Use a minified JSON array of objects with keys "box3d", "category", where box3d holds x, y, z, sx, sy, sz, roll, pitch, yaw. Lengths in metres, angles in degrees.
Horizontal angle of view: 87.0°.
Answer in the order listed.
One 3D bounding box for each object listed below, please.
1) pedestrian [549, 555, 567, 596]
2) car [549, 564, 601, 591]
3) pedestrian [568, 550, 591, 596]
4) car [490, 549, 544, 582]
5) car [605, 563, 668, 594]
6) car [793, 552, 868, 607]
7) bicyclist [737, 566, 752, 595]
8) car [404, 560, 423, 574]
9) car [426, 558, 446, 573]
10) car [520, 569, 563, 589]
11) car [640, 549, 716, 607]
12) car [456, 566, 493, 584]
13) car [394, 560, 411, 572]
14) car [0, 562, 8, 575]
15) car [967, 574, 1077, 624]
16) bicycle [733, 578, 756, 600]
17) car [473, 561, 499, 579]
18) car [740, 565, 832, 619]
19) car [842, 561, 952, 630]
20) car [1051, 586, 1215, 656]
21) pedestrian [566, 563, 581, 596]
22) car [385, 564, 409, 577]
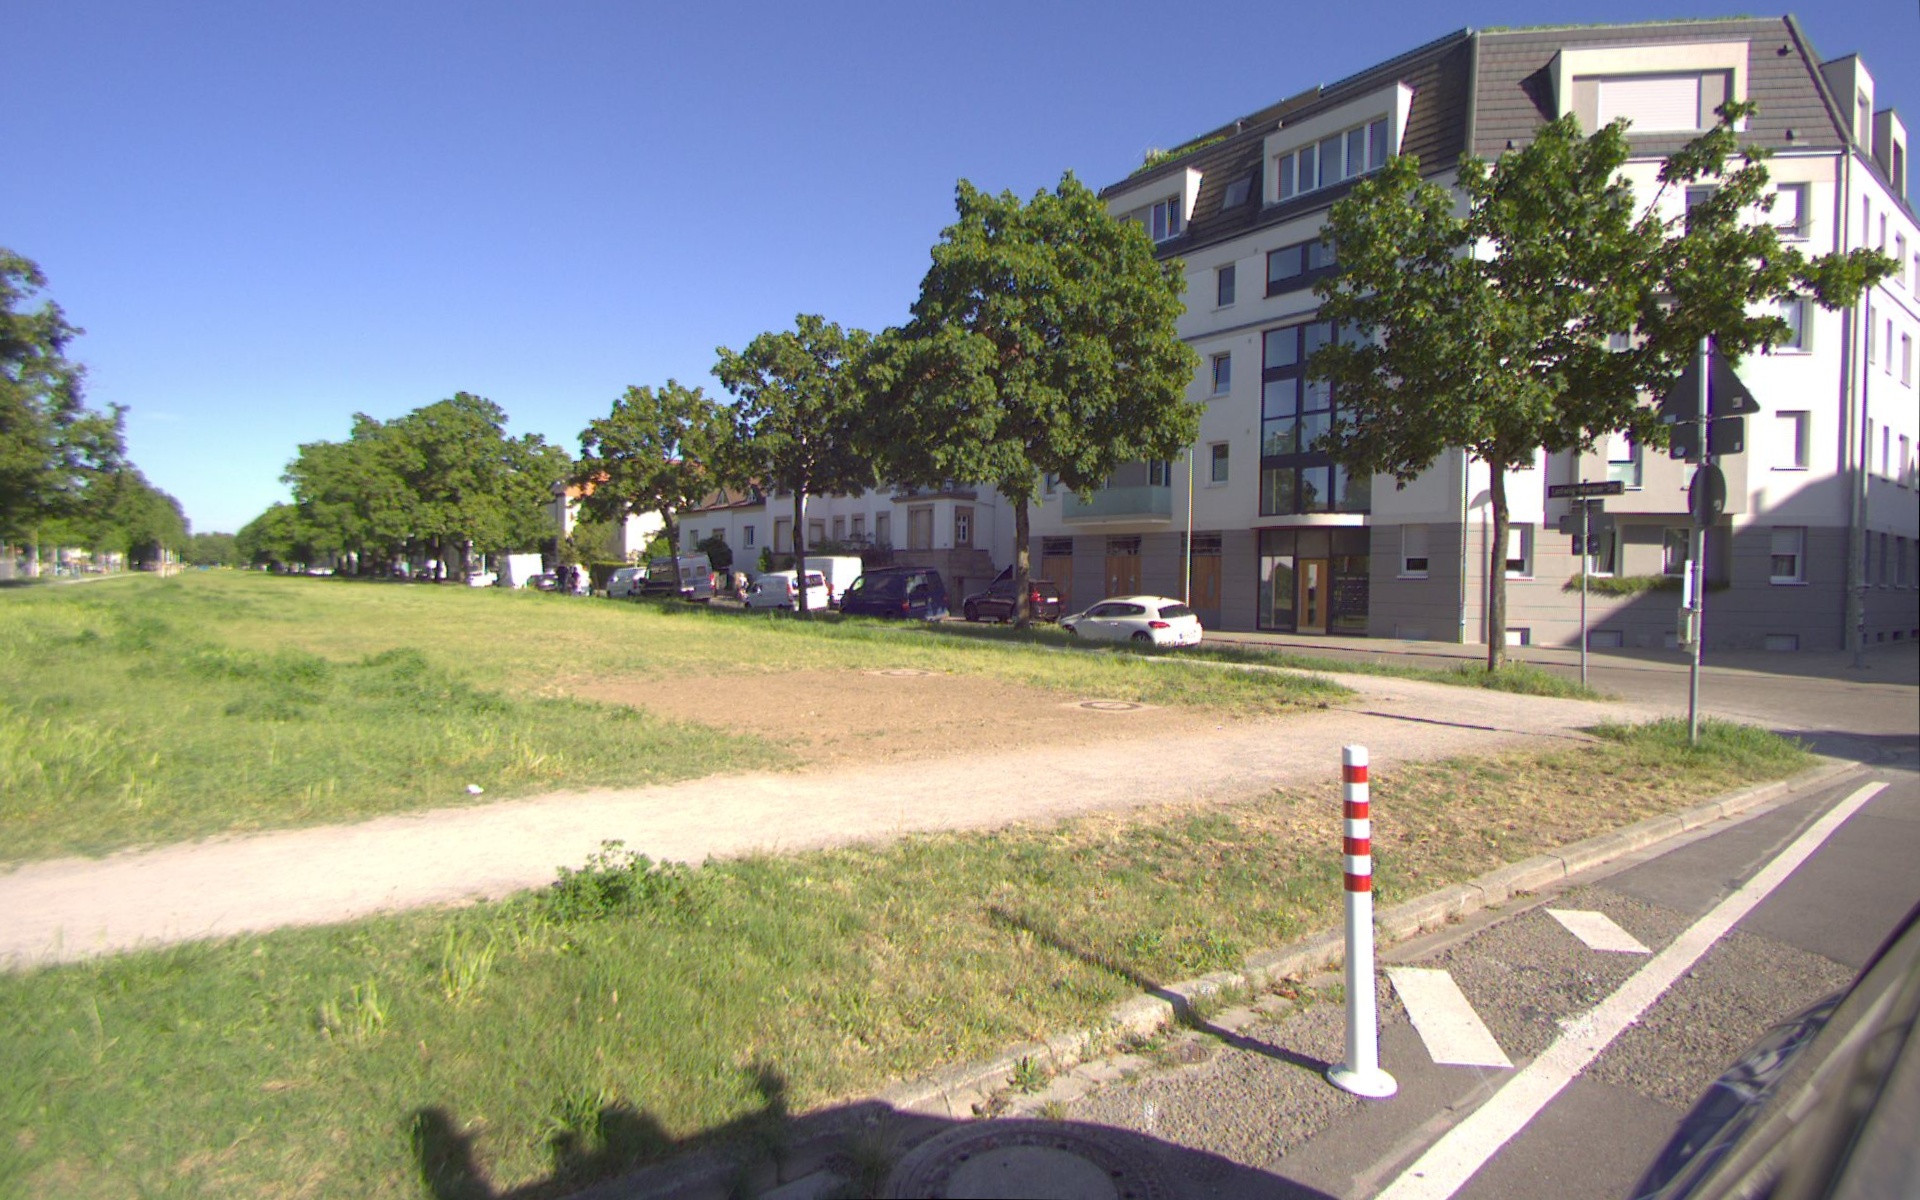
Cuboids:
[{"box3d":[-19.027,-1.171,47.895,0.632,1.900,0.629,0,1,-38],"category":"pedestrian"},{"box3d":[-24.645,-1.460,64.665,2.046,1.618,4.288,0,2,-36],"category":"car"},{"box3d":[-16.053,-1.139,42.715,0.711,1.900,0.629,1,1,-38],"category":"pedestrian"},{"box3d":[-33.224,-2.589,75.786,2.503,2.363,5.920,0,2,-36],"category":"car"},{"box3d":[-17.852,-1.212,55.740,2.046,1.618,4.288,0,2,-36],"category":"car"},{"box3d":[-6.401,-1.026,49.684,1.985,2.580,3.994,-1,2,-36],"category":"car"},{"box3d":[-11.083,-1.014,52.026,0.488,1.482,0.687,1,1,-36],"category":"bicyclist"},{"box3d":[-78.993,-4.793,146.295,1.831,1.868,3.994,0,2,-36],"category":"car"},{"box3d":[-70.605,-4.650,136.263,1.831,1.868,3.994,0,2,-36],"category":"car"},{"box3d":[-29.297,-1.484,70.752,1.898,1.361,4.110,0,2,-36],"category":"car"},{"box3d":[-14.010,-1.137,50.115,2.153,2.615,4.288,-5,4,-36],"category":"car"},{"box3d":[-42.450,-2.202,88.428,2.042,1.484,4.728,0,2,-36],"category":"car"},{"box3d":[-87.470,-5.339,158.712,1.831,1.868,3.994,0,2,-36],"category":"car"},{"box3d":[-101.041,-3.344,105.867,1.690,1.358,3.808,0,2,-37],"category":"car"},{"box3d":[2.254,-0.103,38.086,1.861,1.703,4.289,-1,3,-36],"category":"car"},{"box3d":[-11.088,-0.574,52.036,0.497,1.102,1.709,0,1,-36],"category":"bicycle"},{"box3d":[-50.643,-3.188,108.144,1.831,1.868,3.994,0,2,-36],"category":"car"},{"box3d":[-7.072,-0.381,40.811,1.842,1.906,4.424,-5,5,-35],"category":"car"},{"box3d":[-2.173,-0.220,34.095,1.752,2.108,3.994,-5,5,-36],"category":"car"},{"box3d":[4.319,0.470,25.754,1.709,1.450,3.993,-5,5,-37],"category":"car"},{"box3d":[-18.306,-0.970,47.926,0.487,1.524,0.535,1,1,-37],"category":"pedestrian"},{"box3d":[-69.364,-3.664,124.635,2.042,1.484,4.728,0,2,-36],"category":"car"}]
